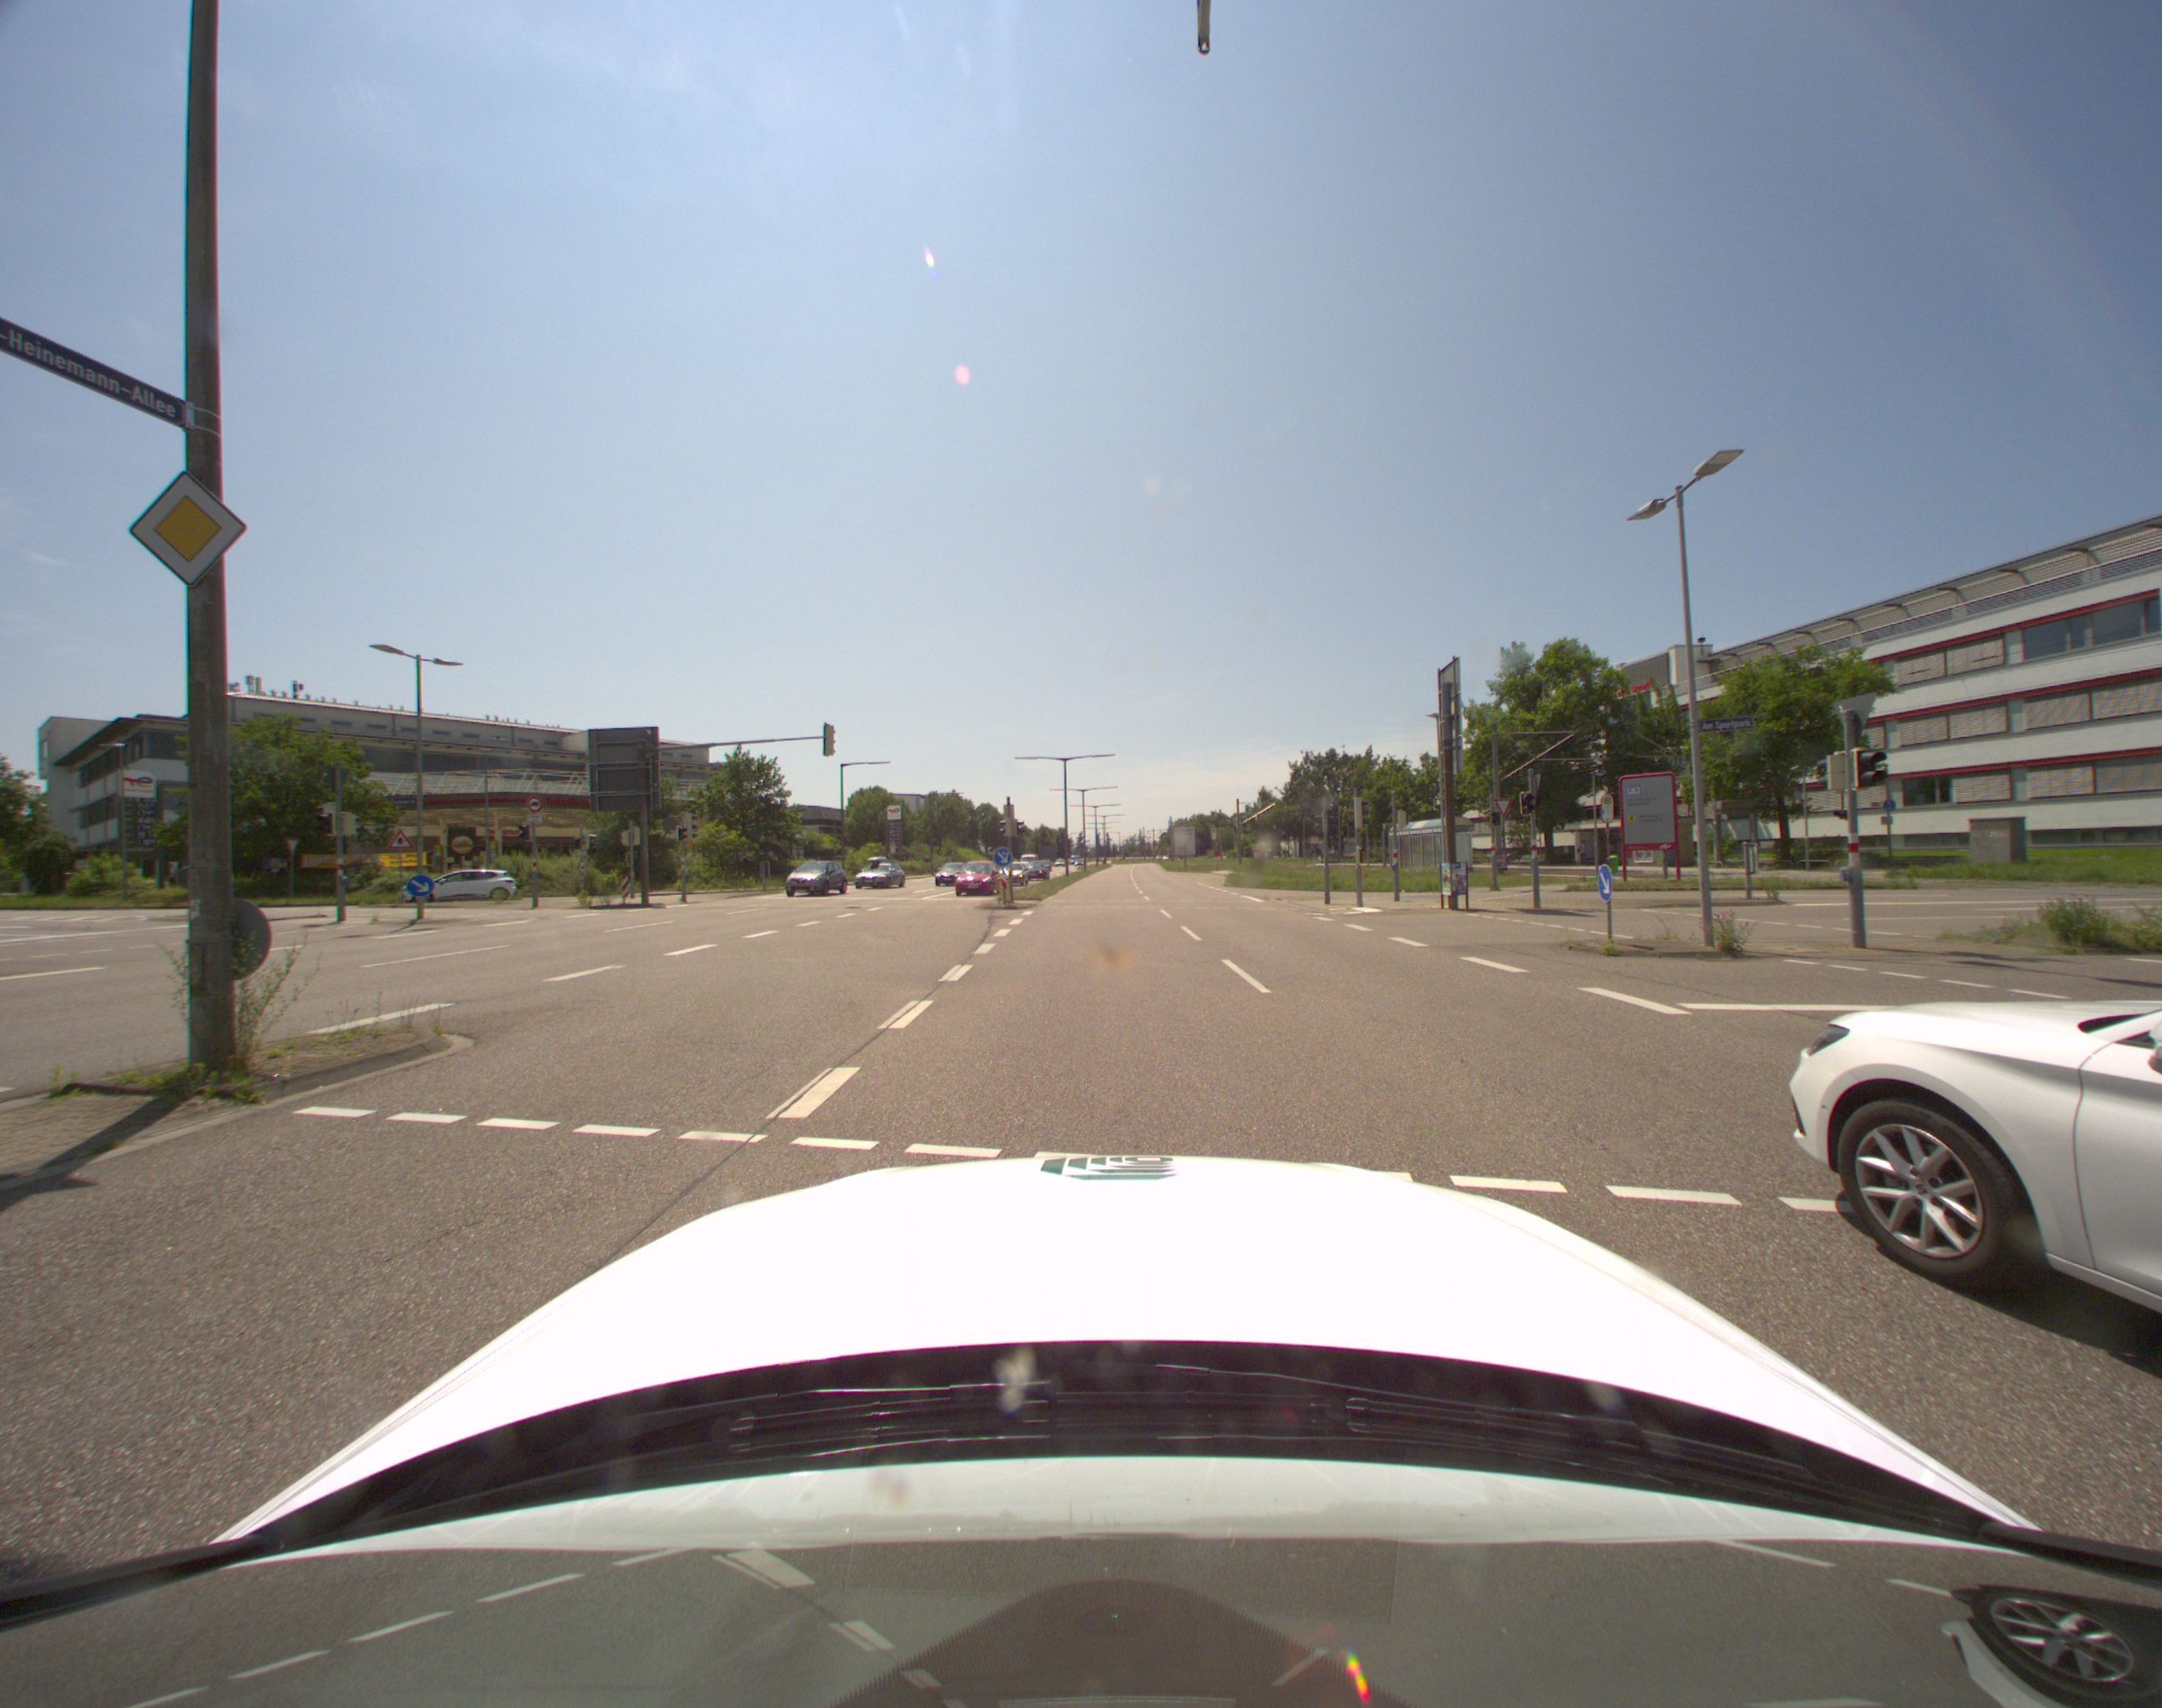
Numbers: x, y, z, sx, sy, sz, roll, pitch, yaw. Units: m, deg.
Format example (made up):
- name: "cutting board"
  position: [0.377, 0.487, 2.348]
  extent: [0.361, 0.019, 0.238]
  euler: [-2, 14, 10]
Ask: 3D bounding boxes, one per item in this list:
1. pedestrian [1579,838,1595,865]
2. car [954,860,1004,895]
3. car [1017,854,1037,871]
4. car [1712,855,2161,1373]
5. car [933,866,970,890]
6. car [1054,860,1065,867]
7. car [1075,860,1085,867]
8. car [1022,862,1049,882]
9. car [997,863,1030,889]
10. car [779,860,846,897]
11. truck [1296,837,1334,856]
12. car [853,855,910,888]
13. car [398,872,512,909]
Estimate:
- name: "pedestrian"
  position: [31.073, -0.145, 50.044]
  extent: [0.549, 1.608, 0.691]
  euler: [0, -1, 3]
- name: "car"
  position: [-4.570, 1.027, 37.022]
  extent: [1.652, 1.490, 4.001]
  euler: [-1, 0, 1]
- name: "car"
  position: [-7.567, 1.182, 114.783]
  extent: [2.240, 2.273, 5.453]
  euler: [0, -1, 3]
- name: "car"
  position: [3.792, 0.707, 1.568]
  extent: [1.677, 1.390, 4.449]
  euler: [-1, 0, 0]
- name: "car"
  position: [-8.067, 1.459, 51.000]
  extent: [1.591, 1.385, 4.004]
  euler: [-1, 0, 1]
- name: "car"
  position: [-4.238, 1.931, 163.762]
  extent: [1.824, 1.449, 4.853]
  euler: [-2, 0, 2]
- name: "car"
  position: [-0.164, 1.971, 170.792]
  extent: [1.723, 1.458, 4.569]
  euler: [-2, 0, 4]
- name: "car"
  position: [-3.331, 1.330, 60.575]
  extent: [1.669, 1.434, 4.192]
  euler: [-1, 0, 2]
- name: "car"
  position: [-4.055, 1.284, 49.249]
  extent: [1.555, 1.423, 3.854]
  euler: [-1, 0, 1]
- name: "car"
  position: [-12.144, 1.083, 37.053]
  extent: [1.652, 1.539, 4.001]
  euler: [-1, 0, 1]
- name: "truck"
  position: [41.044, -1.325, 142.681]
  extent: [5.831, 2.843, 2.316]
  euler: [-3, -1, -5]
- name: "car"
  position: [-11.372, 0.981, 46.792]
  extent: [1.958, 1.750, 5.023]
  euler: [-1, 0, 1]
- name: "car"
  position: [-27.066, 1.550, 35.342]
  extent: [3.845, 1.450, 1.808]
  euler: [-1, -1, -37]
